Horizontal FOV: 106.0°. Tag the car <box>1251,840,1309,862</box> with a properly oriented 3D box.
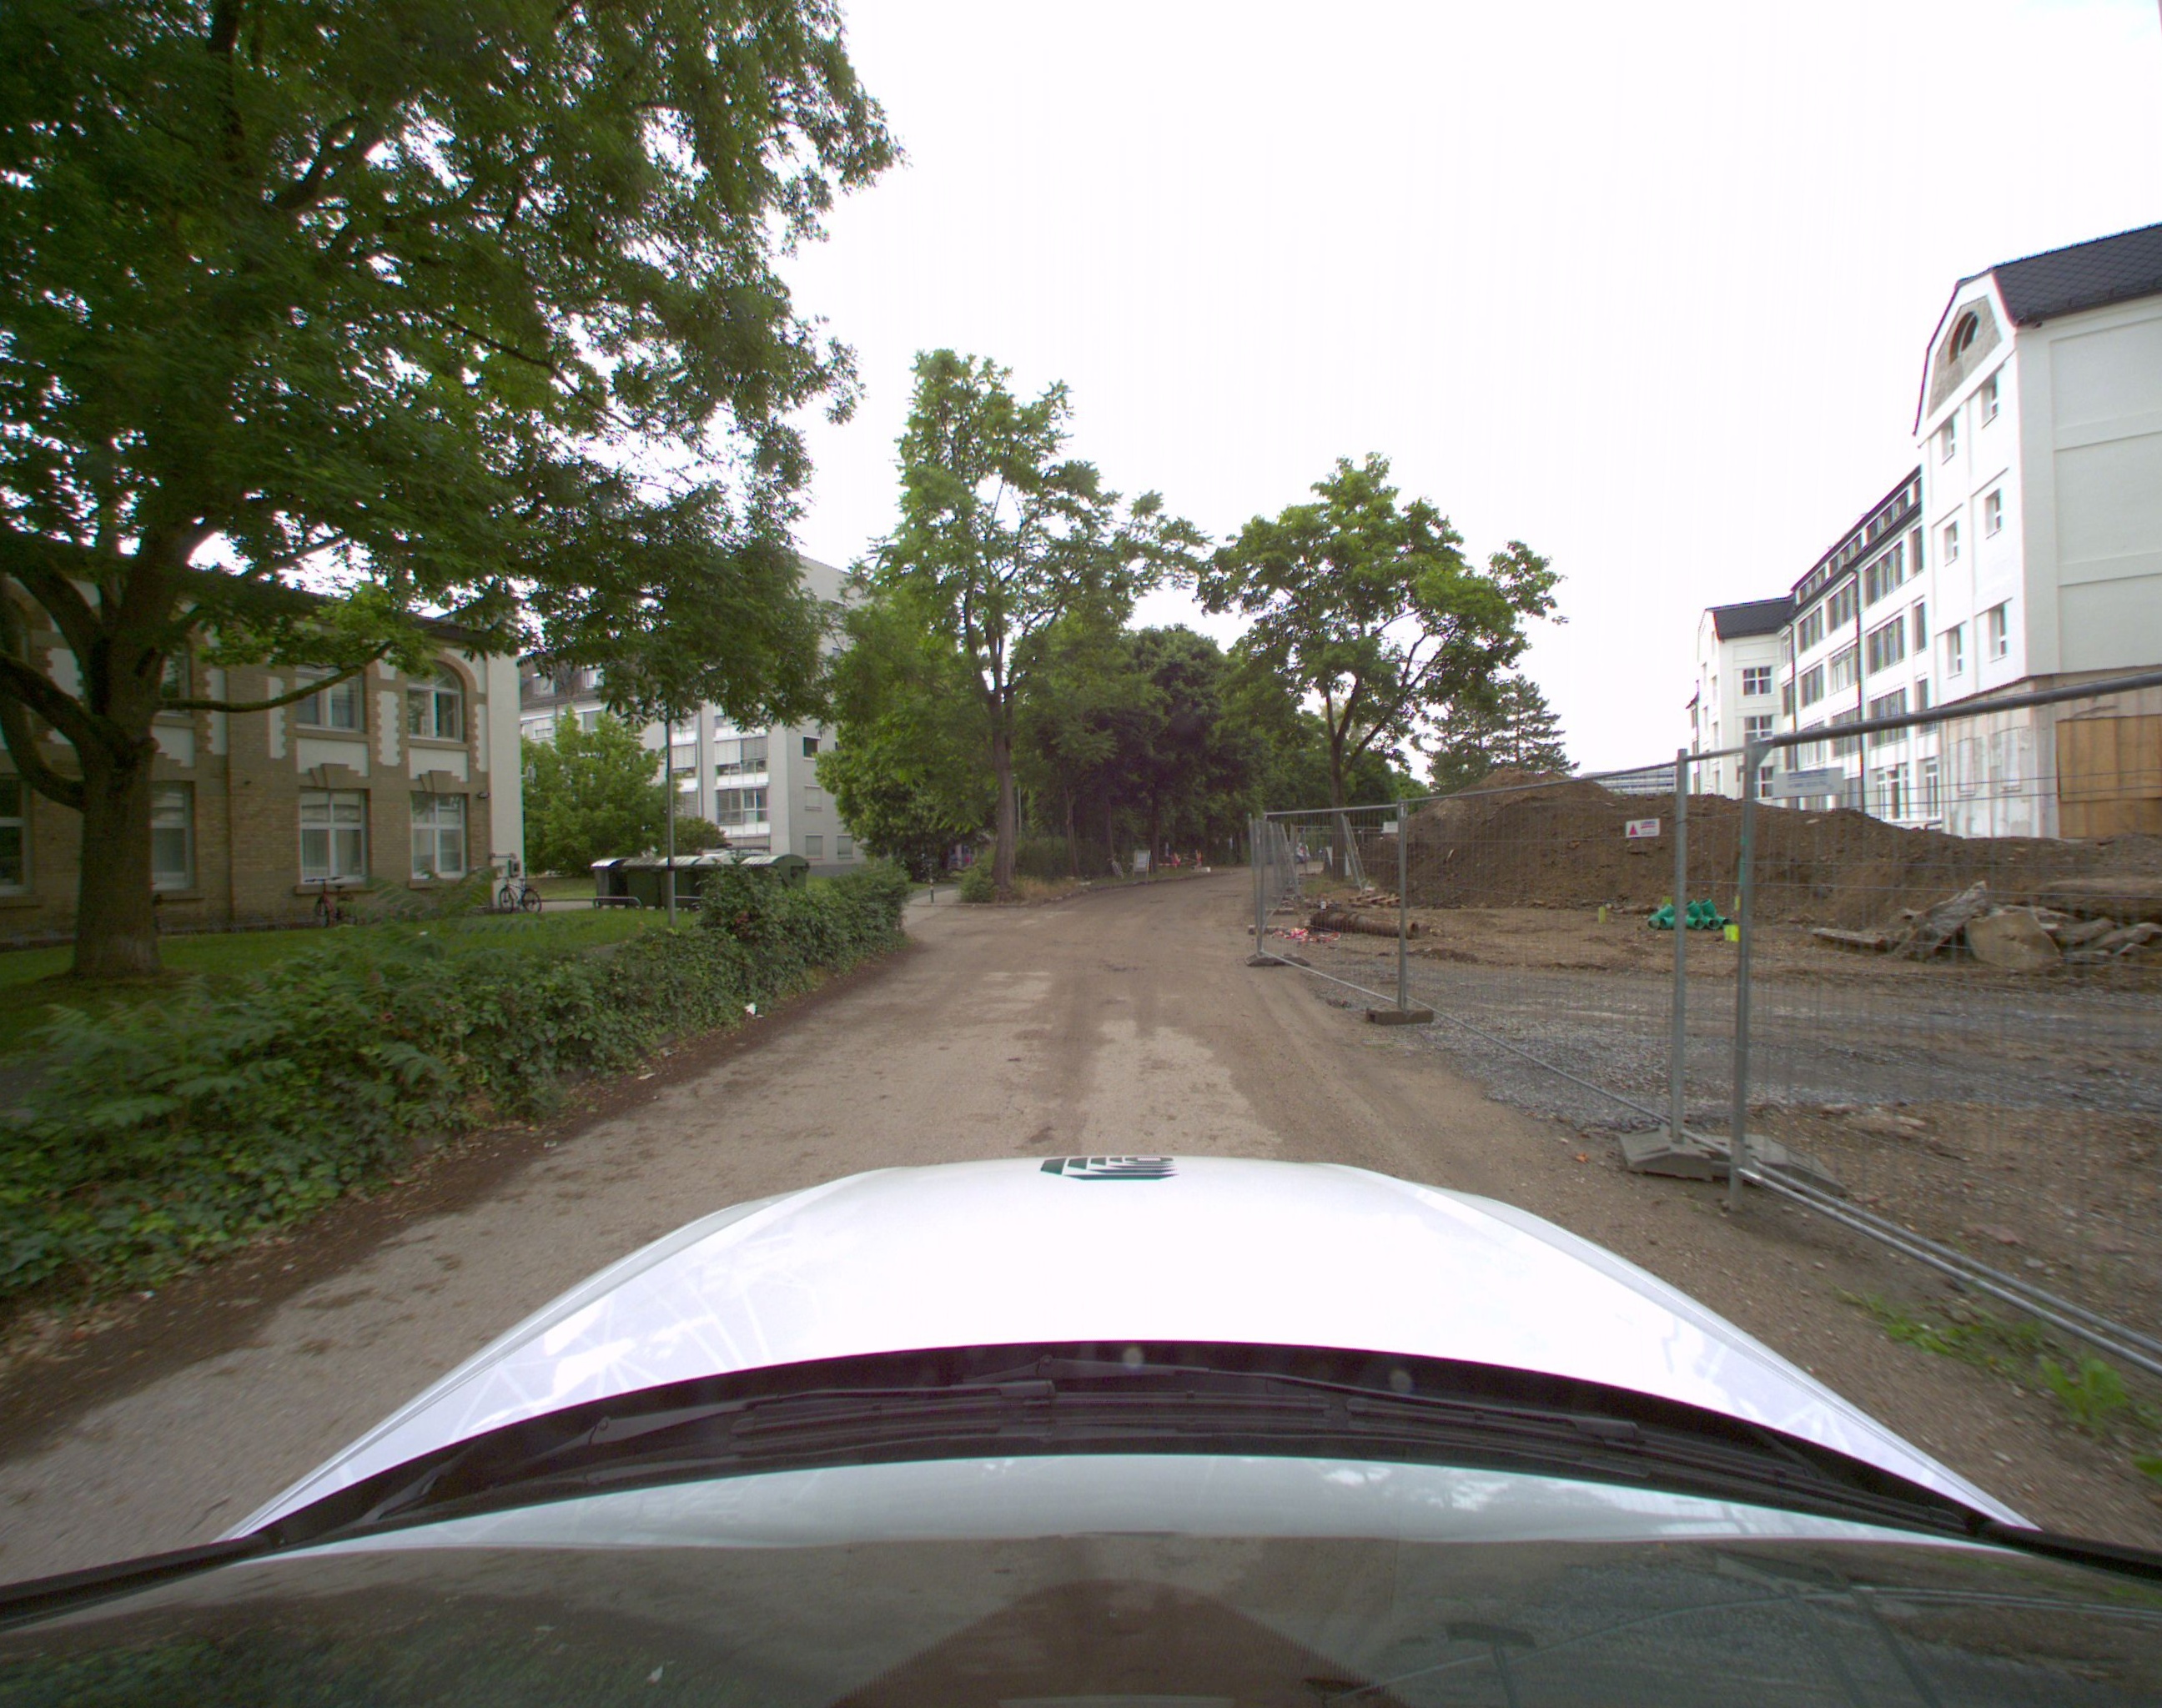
[{"bbox_3d":[14.414,-0.213,59.039,3.663,1.500,1.879,-1,1,31],"label":"car"}]

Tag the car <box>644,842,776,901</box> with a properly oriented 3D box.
[{"bbox_3d":[-13.980,0.618,30.966,1.831,2.014,4.376,-3,-1,24],"label":"car"}]

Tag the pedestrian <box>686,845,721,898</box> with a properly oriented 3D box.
[{"bbox_3d":[-13.383,0.605,28.885,0.689,1.808,0.761,-3,-1,24],"label":"pedestrian"}]

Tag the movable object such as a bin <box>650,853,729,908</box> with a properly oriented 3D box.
[{"bbox_3d":[-9.489,0.623,19.765,1.337,1.264,1.062,-1,0,23],"label":"movable object such as a bin"}]

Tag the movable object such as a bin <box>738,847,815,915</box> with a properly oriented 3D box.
[{"bbox_3d":[-6.868,0.573,18.354,1.337,1.450,1.062,1,1,37],"label":"movable object such as a bin"}]

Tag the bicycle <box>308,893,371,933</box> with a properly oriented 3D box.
[{"bbox_3d":[-16.827,1.308,18.460,1.919,0.813,0.623,-1,0,35],"label":"bicycle"}]

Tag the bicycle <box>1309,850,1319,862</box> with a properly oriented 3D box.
[{"bbox_3d":[19.276,0.184,67.446,0.765,0.978,2.041,-1,0,17],"label":"bicycle"}]

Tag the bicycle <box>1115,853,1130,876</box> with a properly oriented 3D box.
[{"bbox_3d":[1.643,0.406,32.251,0.416,0.905,1.158,-1,0,12],"label":"bicycle"}]

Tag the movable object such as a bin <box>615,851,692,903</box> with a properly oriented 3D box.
[{"bbox_3d":[-10.752,0.569,20.497,1.338,1.264,1.061,-1,0,20],"label":"movable object such as a bin"}]

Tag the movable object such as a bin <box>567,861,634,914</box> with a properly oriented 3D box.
[{"bbox_3d":[-12.269,0.836,20.797,1.336,1.264,1.062,-1,1,41],"label":"movable object such as a bin"}]

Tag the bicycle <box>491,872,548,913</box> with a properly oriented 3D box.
[{"bbox_3d":[-15.034,1.027,21.788,1.805,1.065,0.398,-1,0,26],"label":"bicycle"}]
